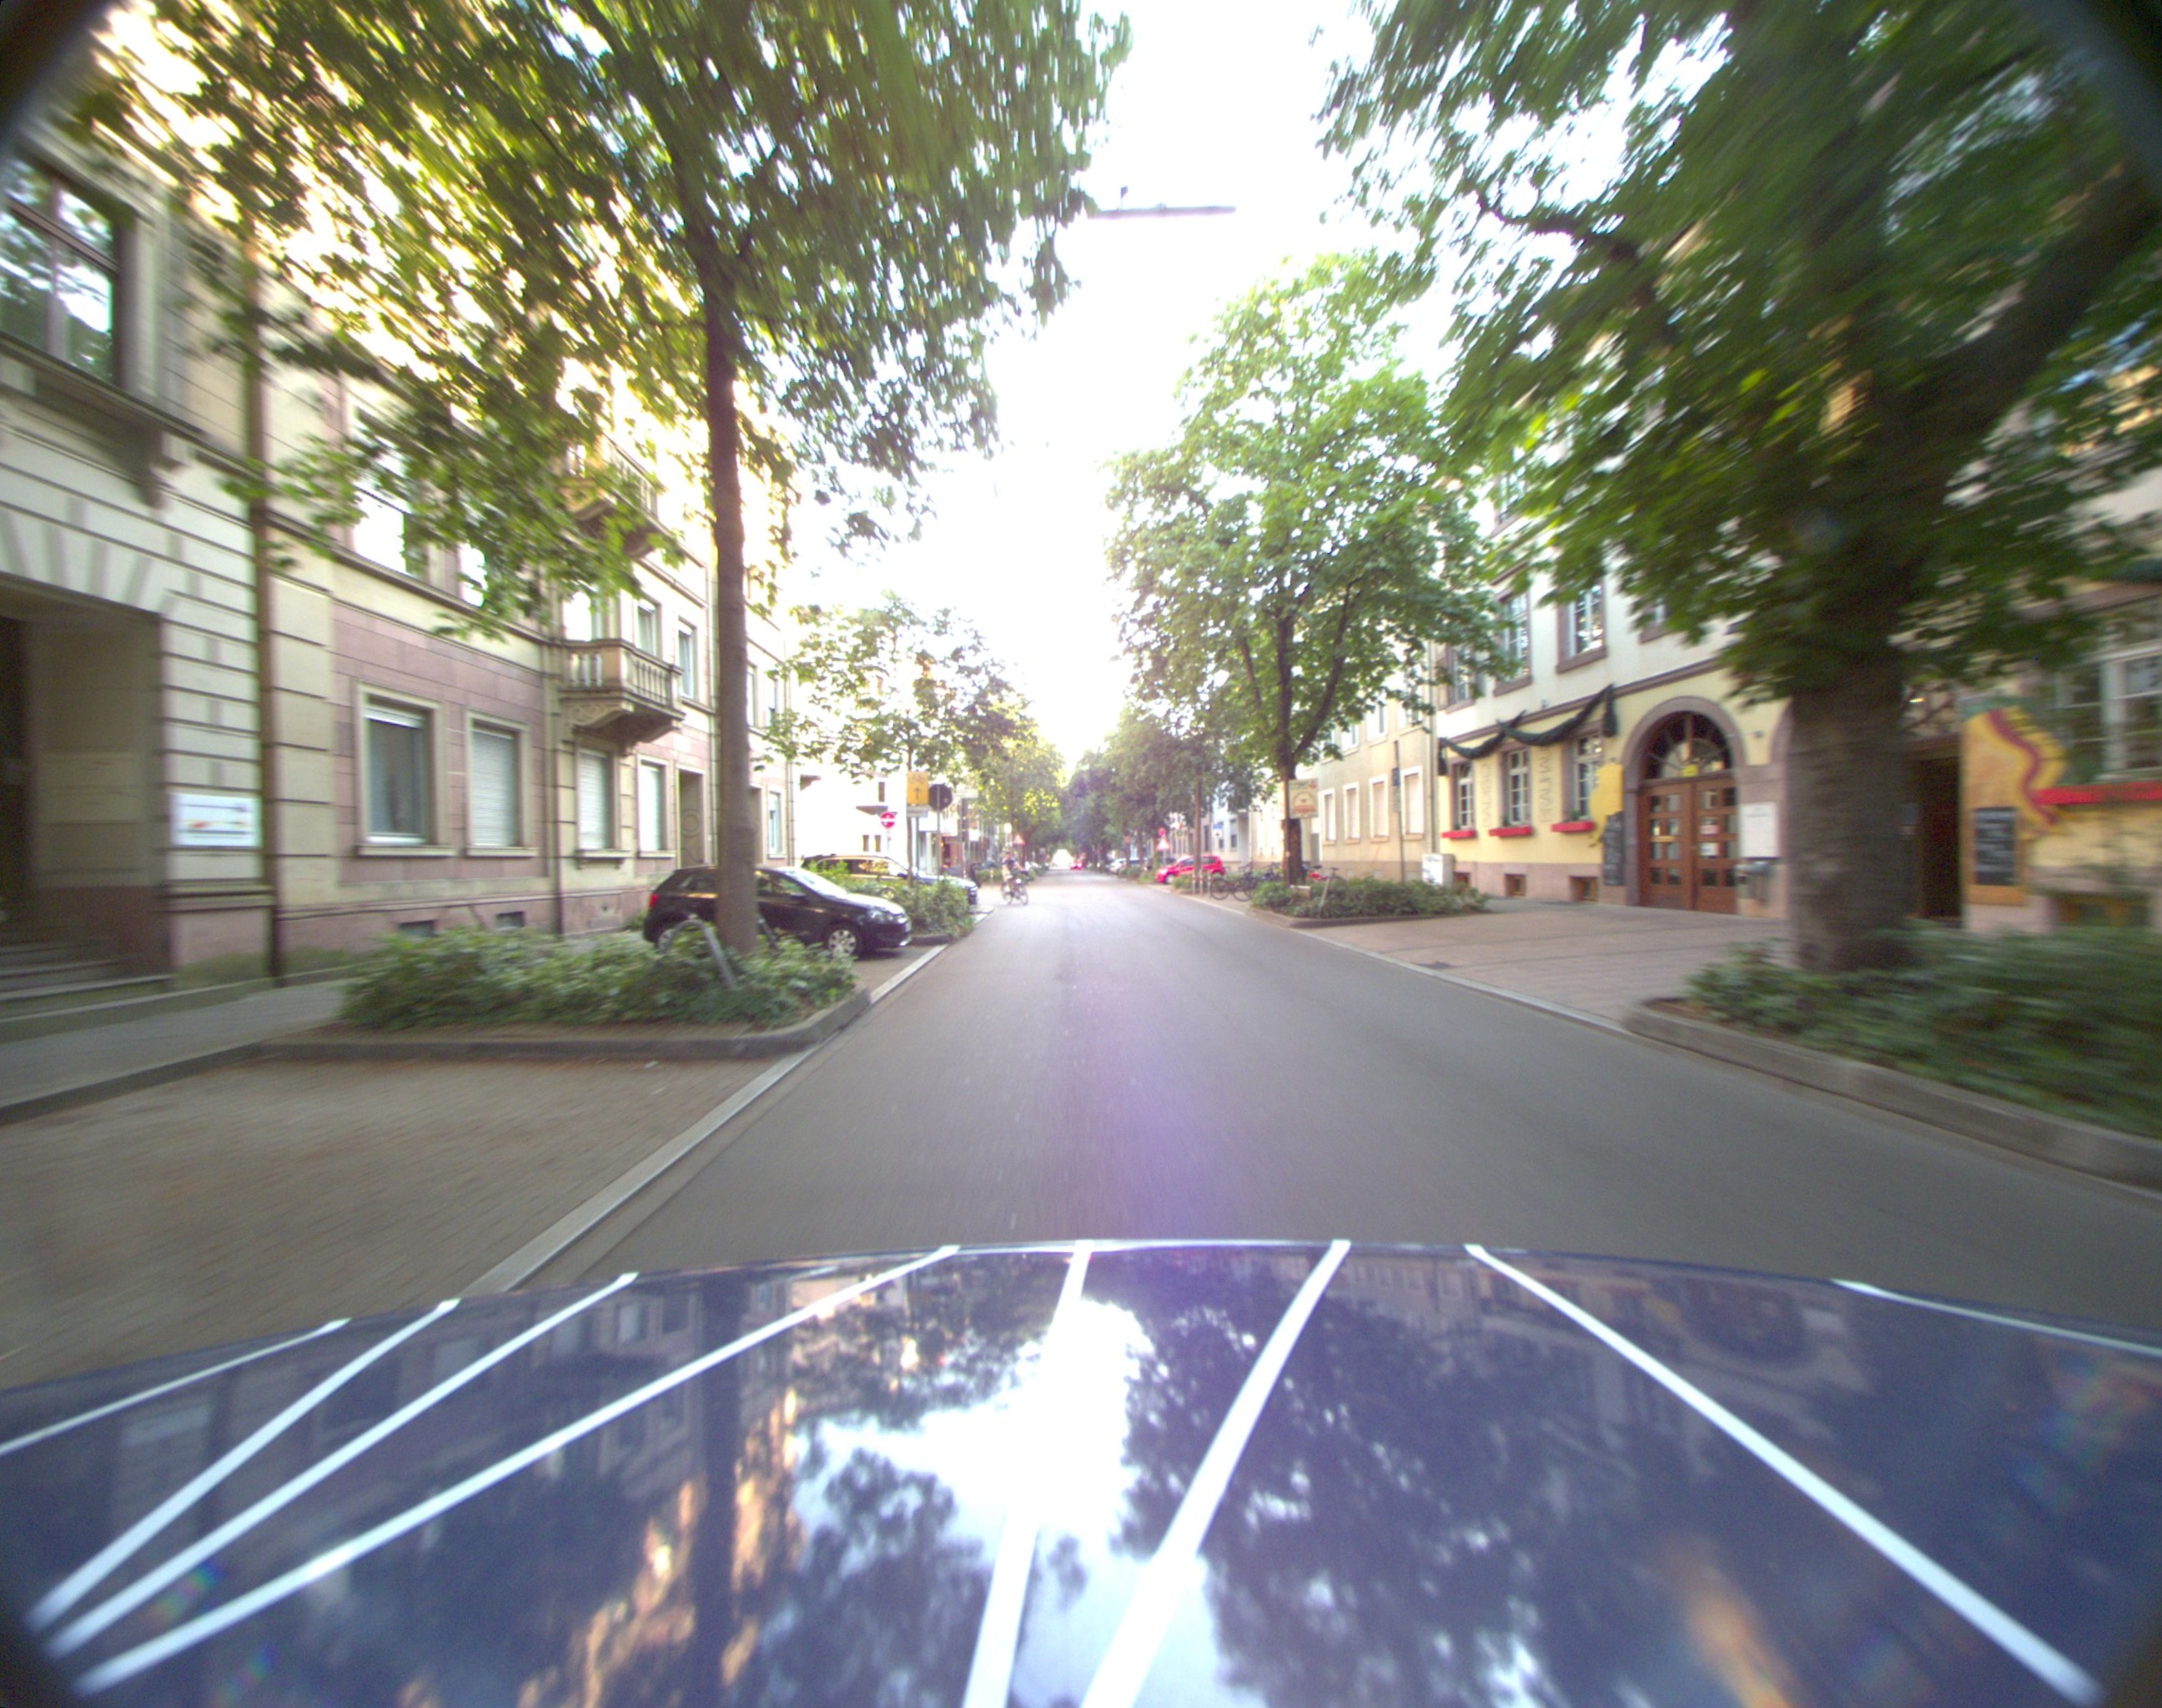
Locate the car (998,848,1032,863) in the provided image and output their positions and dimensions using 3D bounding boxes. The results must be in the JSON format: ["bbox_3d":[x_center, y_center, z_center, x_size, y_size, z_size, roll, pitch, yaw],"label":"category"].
[{"bbox_3d":[-7.187,0.185,83.297,3.552,1.411,1.590,-4,0,-1],"label":"car"}]

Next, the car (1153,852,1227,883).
[{"bbox_3d":[5.684,0.699,39.870,3.498,1.397,1.672,-4,0,-4],"label":"car"}]

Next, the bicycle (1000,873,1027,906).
[{"bbox_3d":[-2.262,1.164,25.221,0.778,0.967,2.023,-2,0,-8],"label":"bicycle"}]

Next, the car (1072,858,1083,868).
[{"bbox_3d":[-0.565,1.468,124.914,1.673,1.411,3.554,-4,0,-1],"label":"car"}]

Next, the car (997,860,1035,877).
[{"bbox_3d":[-6.408,1.422,75.066,3.552,1.411,1.590,-4,0,-1],"label":"car"}]

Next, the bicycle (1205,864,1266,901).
[{"bbox_3d":[5.053,0.936,24.890,1.869,1.092,0.480,-3,1,-8],"label":"bicycle"}]

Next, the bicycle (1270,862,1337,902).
[{"bbox_3d":[6.800,0.845,23.214,1.869,1.093,0.509,-3,1,-8],"label":"bicycle"}]

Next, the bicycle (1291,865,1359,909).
[{"bbox_3d":[6.772,0.904,21.066,1.712,1.093,0.480,-3,1,-8],"label":"bicycle"}]

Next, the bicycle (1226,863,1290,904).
[{"bbox_3d":[5.523,0.909,23.716,1.869,1.138,0.480,-3,1,-8],"label":"bicycle"}]

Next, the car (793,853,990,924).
[{"bbox_3d":[-4.721,0.834,19.294,4.421,1.552,1.867,2,0,5],"label":"car"}]

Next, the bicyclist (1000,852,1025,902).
[{"bbox_3d":[-2.290,0.749,25.273,0.754,1.612,1.146,-2,0,-7],"label":"bicyclist"}]

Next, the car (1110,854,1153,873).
[{"bbox_3d":[4.418,0.797,67.000,3.552,1.411,1.590,-4,0,-1],"label":"car"}]

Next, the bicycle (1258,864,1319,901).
[{"bbox_3d":[6.880,0.934,25.225,1.869,1.093,0.480,-3,1,-8],"label":"bicycle"}]

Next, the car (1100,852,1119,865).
[{"bbox_3d":[3.293,0.474,88.470,1.999,1.368,3.999,-2,1,-2],"label":"car"}]

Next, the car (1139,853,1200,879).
[{"bbox_3d":[5.621,0.767,48.668,3.553,1.411,1.590,-4,0,-4],"label":"car"}]

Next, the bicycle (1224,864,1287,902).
[{"bbox_3d":[5.562,0.913,24.242,1.869,1.093,0.480,-3,1,-8],"label":"bicycle"}]

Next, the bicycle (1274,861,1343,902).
[{"bbox_3d":[6.731,0.809,22.513,1.869,1.093,0.480,-3,1,-8],"label":"bicycle"}]

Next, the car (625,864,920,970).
[{"bbox_3d":[-4.641,0.933,11.904,3.876,1.419,1.781,2,0,-3],"label":"car"}]

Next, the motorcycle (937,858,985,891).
[{"bbox_3d":[-6.079,1.021,38.403,2.248,1.537,0.772,-3,1,-17],"label":"motorcycle"}]

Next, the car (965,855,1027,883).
[{"bbox_3d":[-6.027,1.079,54.075,4.167,1.665,1.590,-4,0,-1],"label":"car"}]
